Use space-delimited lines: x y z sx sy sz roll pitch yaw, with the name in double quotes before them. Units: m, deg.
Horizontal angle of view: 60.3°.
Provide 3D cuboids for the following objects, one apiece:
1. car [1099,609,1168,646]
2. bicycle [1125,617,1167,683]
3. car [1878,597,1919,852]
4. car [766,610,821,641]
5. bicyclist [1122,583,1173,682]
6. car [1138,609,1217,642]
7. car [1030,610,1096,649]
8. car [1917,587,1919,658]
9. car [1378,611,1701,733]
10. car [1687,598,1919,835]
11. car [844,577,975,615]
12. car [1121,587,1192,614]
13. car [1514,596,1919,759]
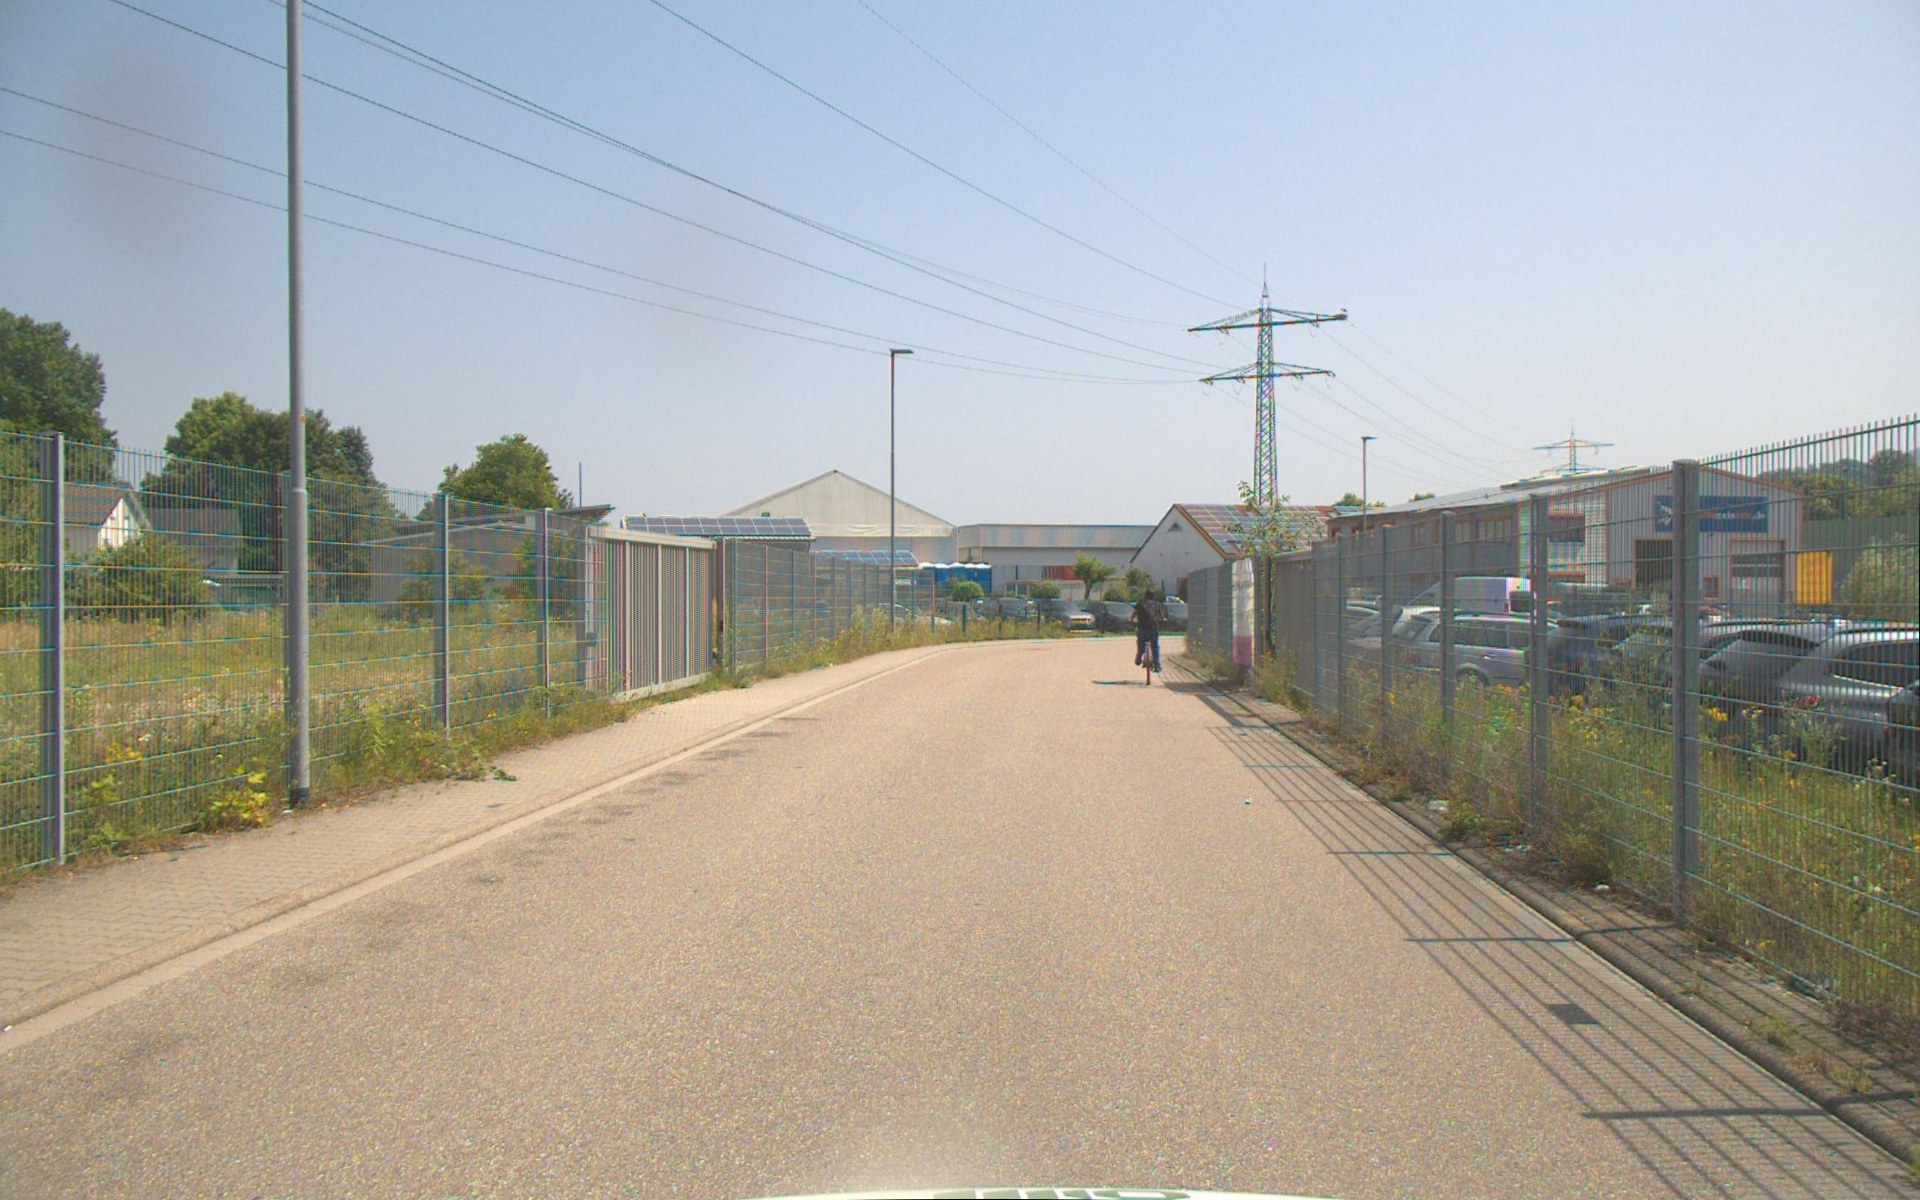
"car" 7.662 1.186 73.359 1.832 1.581 3.755 0 0 -15
"bicycle" 3.229 0.845 28.588 0.670 1.070 1.902 1 0 7
"car" 7.392 0.796 8.623 4.121 1.430 1.840 3 0 7
"car" -7.504 1.132 74.254 1.833 1.321 3.424 0 0 -17
"bicyclist" 3.242 0.546 28.548 0.824 1.646 1.040 1 1 7
"car" 9.824 1.133 75.176 1.962 1.460 4.646 0 0 -15
"car" 4.521 1.271 73.111 1.832 1.672 3.619 0 0 -15
"car" 28.533 0.616 44.399 4.969 1.932 1.853 0 0 -11
"car" 8.370 1.025 24.113 4.078 1.499 1.638 3 0 0
"car" 7.513 0.807 11.111 4.416 1.430 1.839 3 0 1
"car" -1.834 -0.127 59.798 4.472 1.330 1.861 0 0 -15
"car" 12.024 0.038 101.112 3.919 1.626 1.870 0 0 -14
"car" 8.281 0.785 17.263 4.414 1.430 1.768 3 0 5
